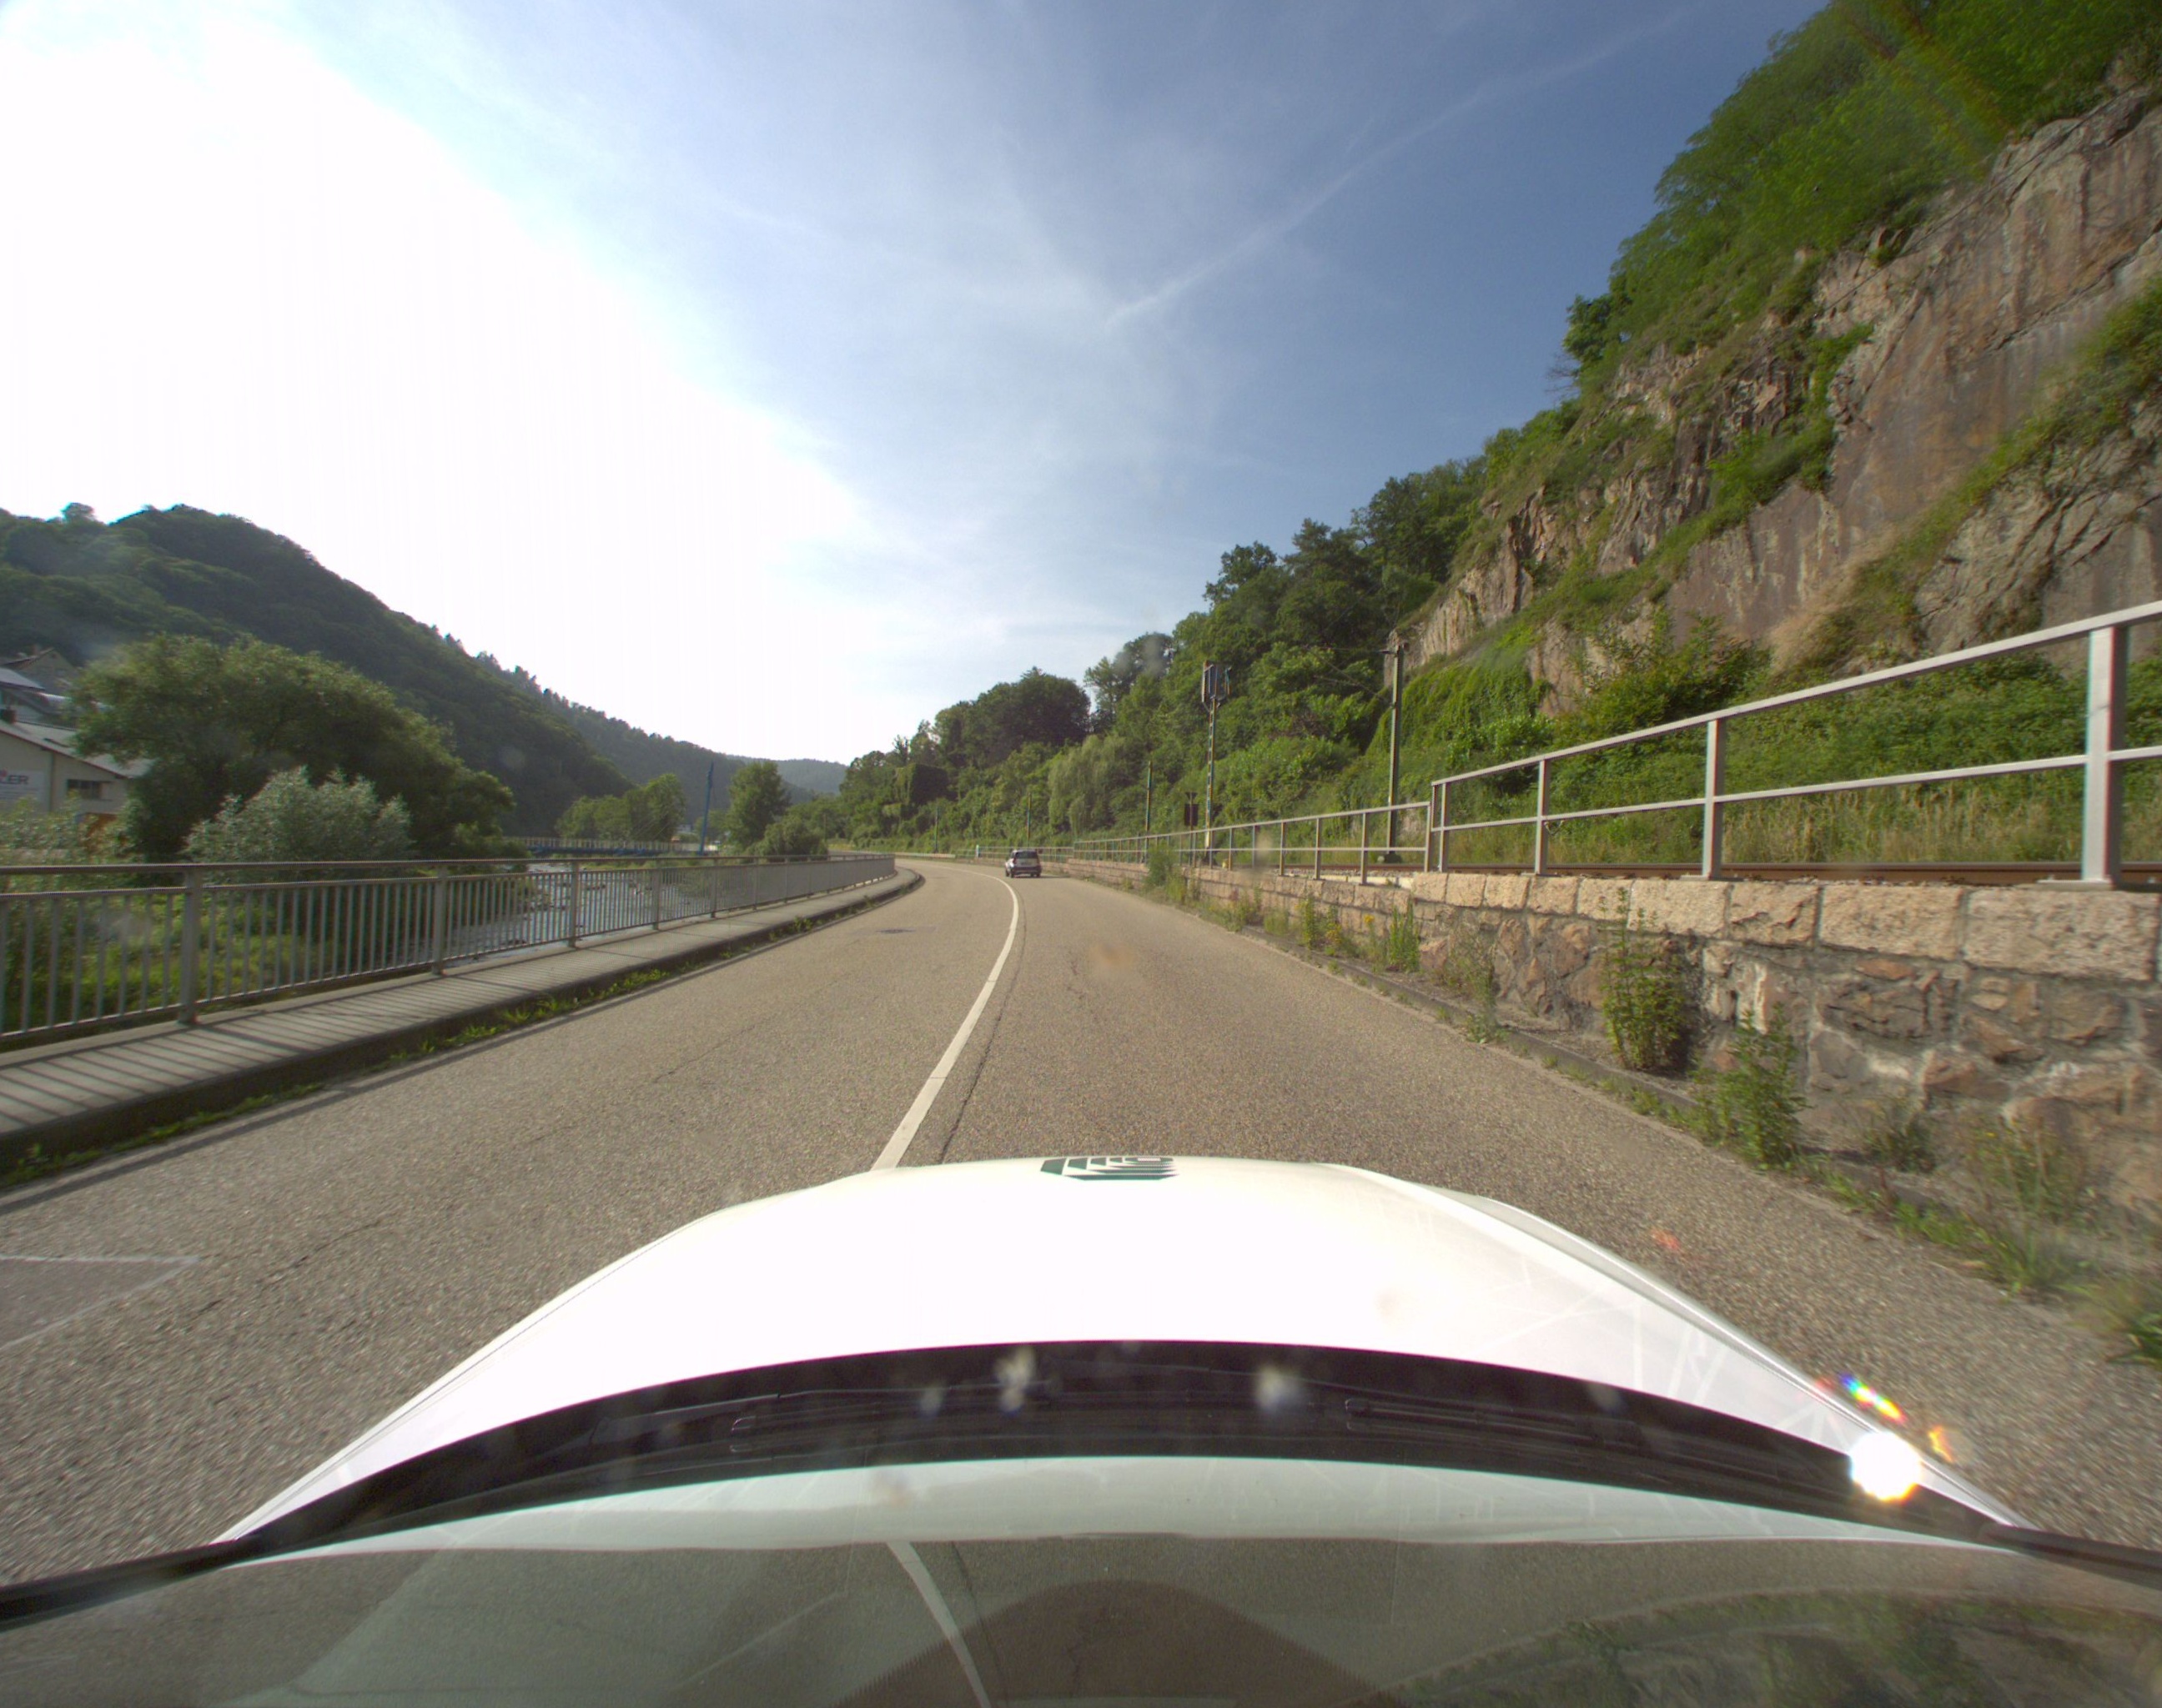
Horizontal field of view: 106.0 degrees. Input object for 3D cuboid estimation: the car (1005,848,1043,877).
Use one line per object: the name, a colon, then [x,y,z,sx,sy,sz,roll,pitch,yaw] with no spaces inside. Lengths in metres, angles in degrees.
car: [-3.424,0.468,48.475,1.872,1.656,3.987,0,0,-9]
